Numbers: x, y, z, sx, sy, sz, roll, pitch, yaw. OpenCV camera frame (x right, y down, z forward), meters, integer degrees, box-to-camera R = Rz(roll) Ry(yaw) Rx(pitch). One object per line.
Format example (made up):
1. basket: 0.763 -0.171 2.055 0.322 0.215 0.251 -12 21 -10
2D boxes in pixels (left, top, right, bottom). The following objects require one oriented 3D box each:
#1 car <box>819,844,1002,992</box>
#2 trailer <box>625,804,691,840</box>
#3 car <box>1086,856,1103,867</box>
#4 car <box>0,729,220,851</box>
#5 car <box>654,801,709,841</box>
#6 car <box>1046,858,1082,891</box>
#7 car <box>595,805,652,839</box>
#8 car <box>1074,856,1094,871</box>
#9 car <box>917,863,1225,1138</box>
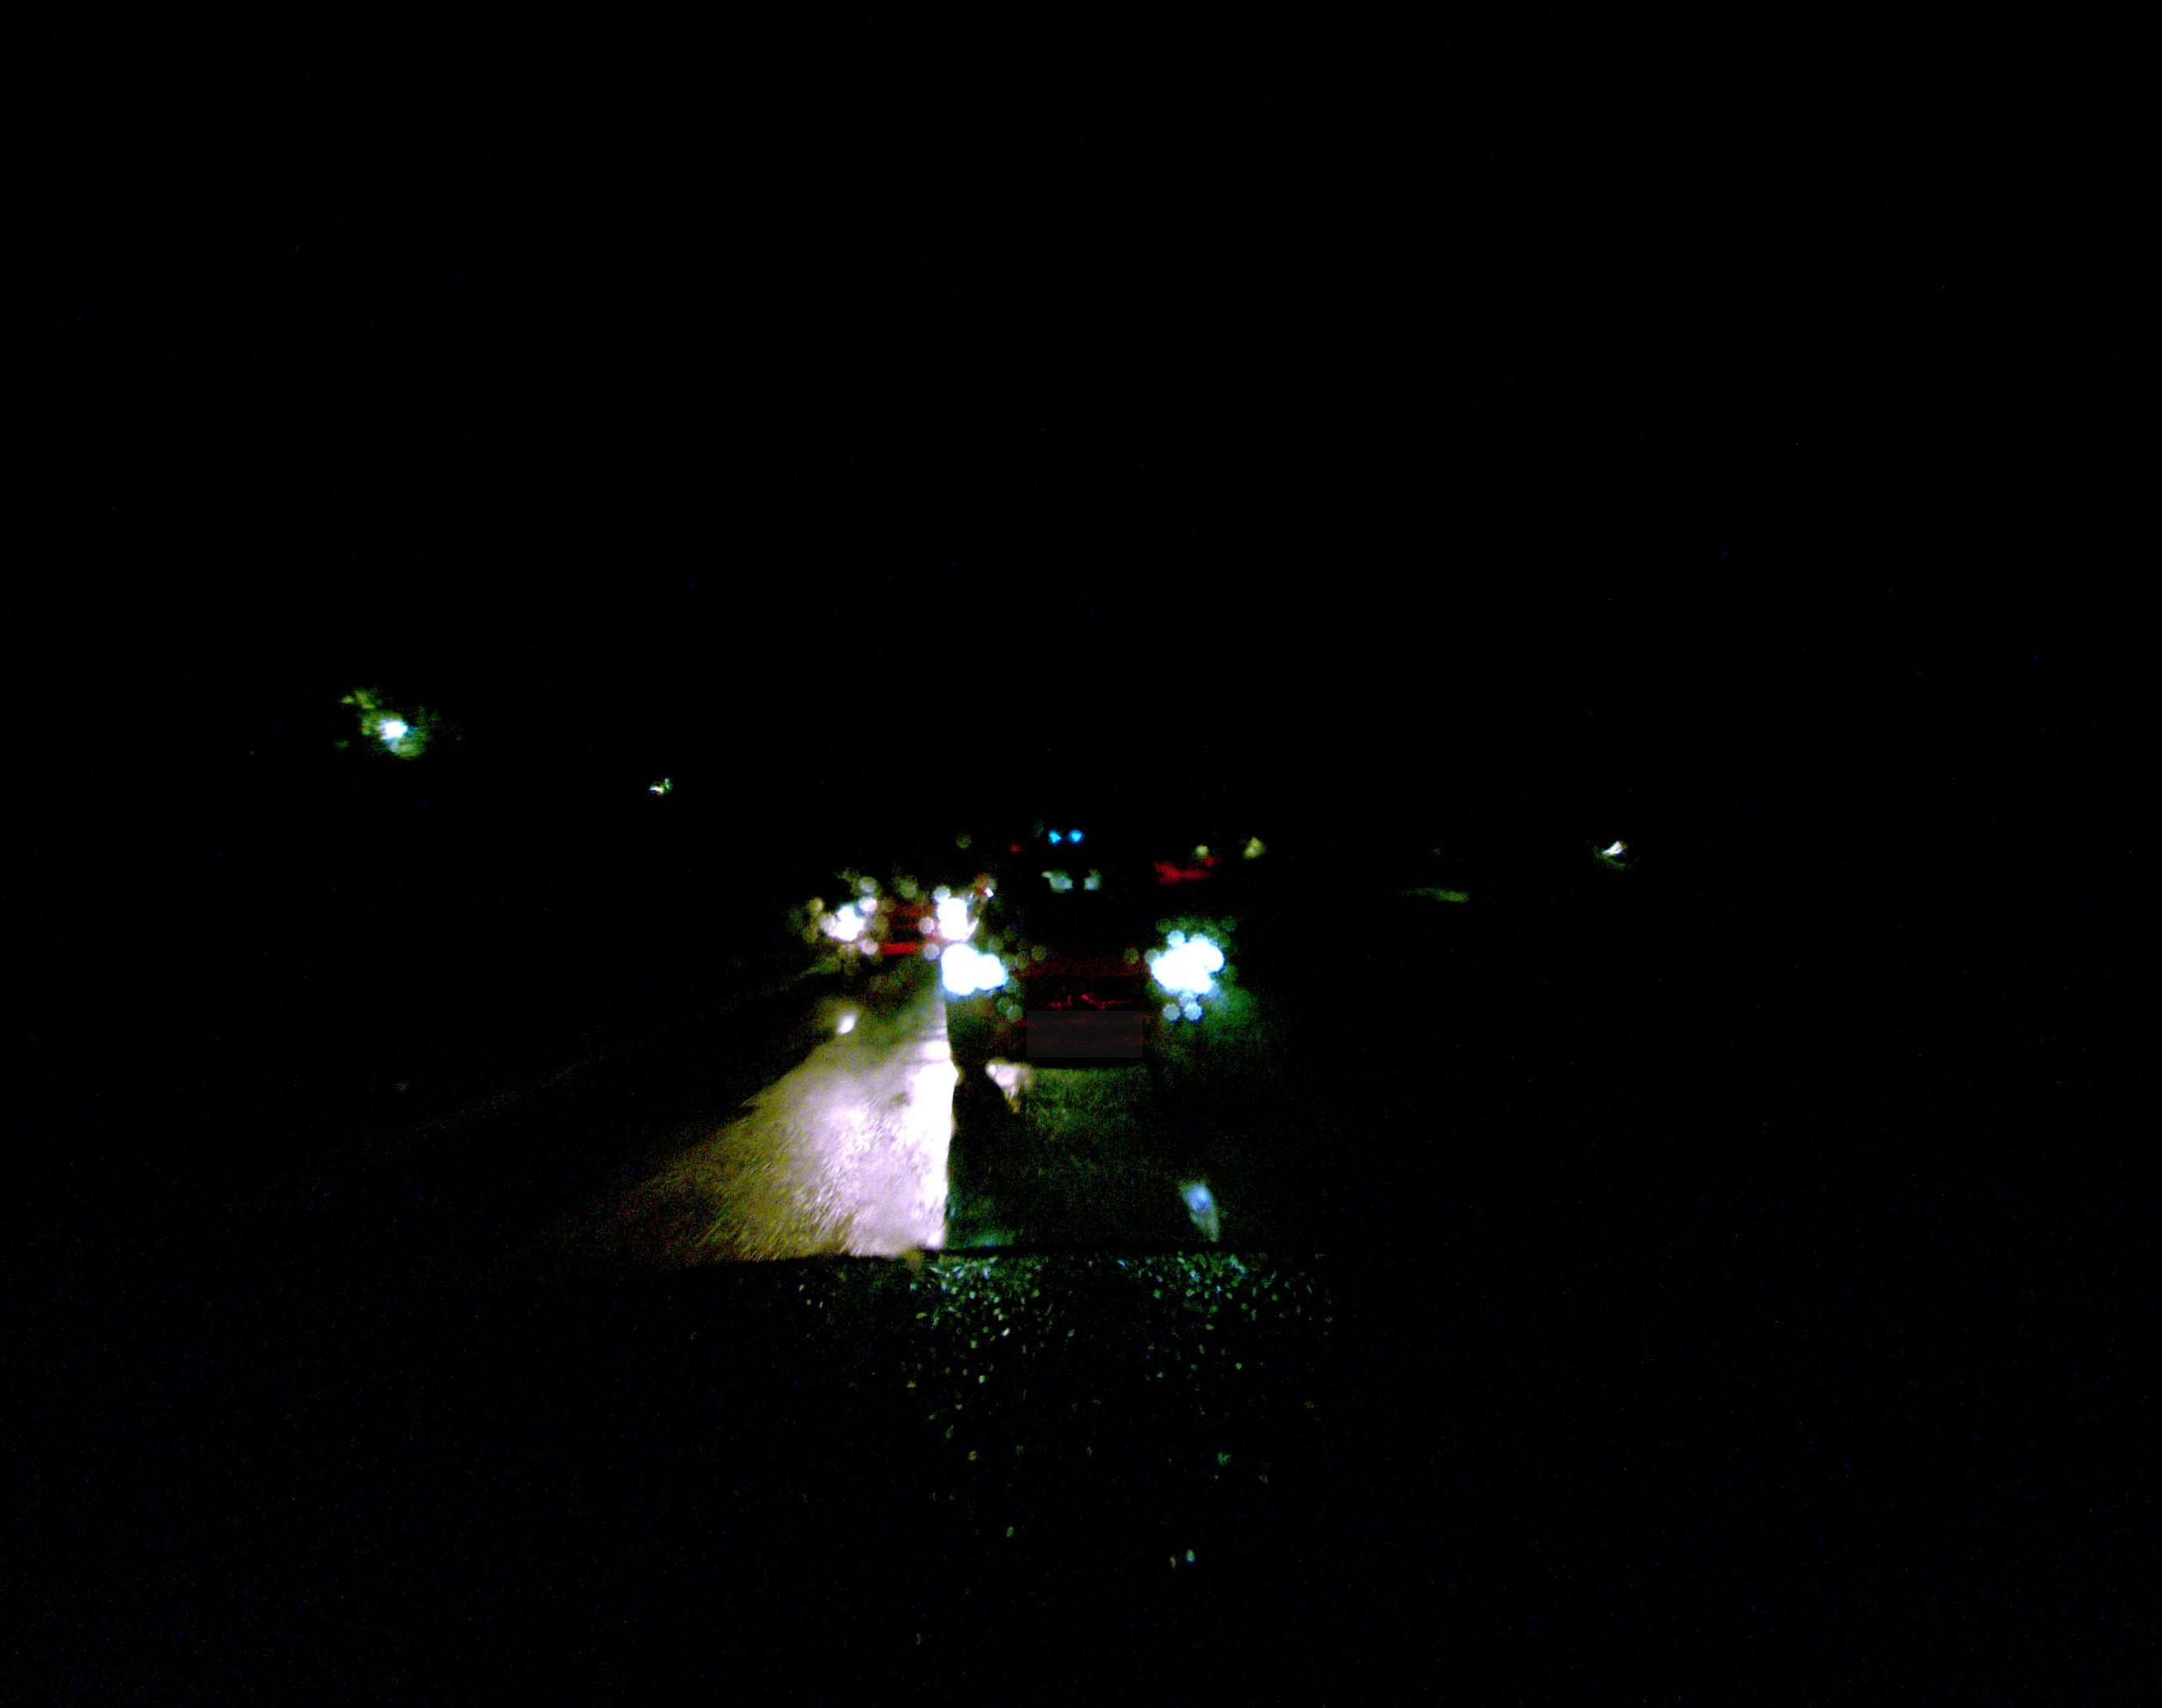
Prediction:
1. car: -2.405 0.819 11.968 1.759 1.807 4.710 -2 0 0
2. trailer: -26.676 -1.981 48.157 2.234 2.060 5.713 -1 0 -14
3. car: 1.803 0.990 102.904 1.923 1.435 4.544 -1 0 -3
4. car: -16.236 -0.891 11.925 1.642 1.608 4.128 -1 0 -17
5. car: -28.052 -2.243 53.558 2.122 2.620 5.443 -1 0 -14
6. car: -0.812 0.941 36.234 1.625 1.477 3.785 -1 -1 -2
7. car: -24.537 -1.676 40.908 1.619 1.630 3.994 -1 1 -16
8. car: 0.262 0.946 76.949 1.699 1.426 4.291 -2 1 -5
9. car: -0.058 0.895 6.902 1.810 1.590 4.786 -1 0 0
